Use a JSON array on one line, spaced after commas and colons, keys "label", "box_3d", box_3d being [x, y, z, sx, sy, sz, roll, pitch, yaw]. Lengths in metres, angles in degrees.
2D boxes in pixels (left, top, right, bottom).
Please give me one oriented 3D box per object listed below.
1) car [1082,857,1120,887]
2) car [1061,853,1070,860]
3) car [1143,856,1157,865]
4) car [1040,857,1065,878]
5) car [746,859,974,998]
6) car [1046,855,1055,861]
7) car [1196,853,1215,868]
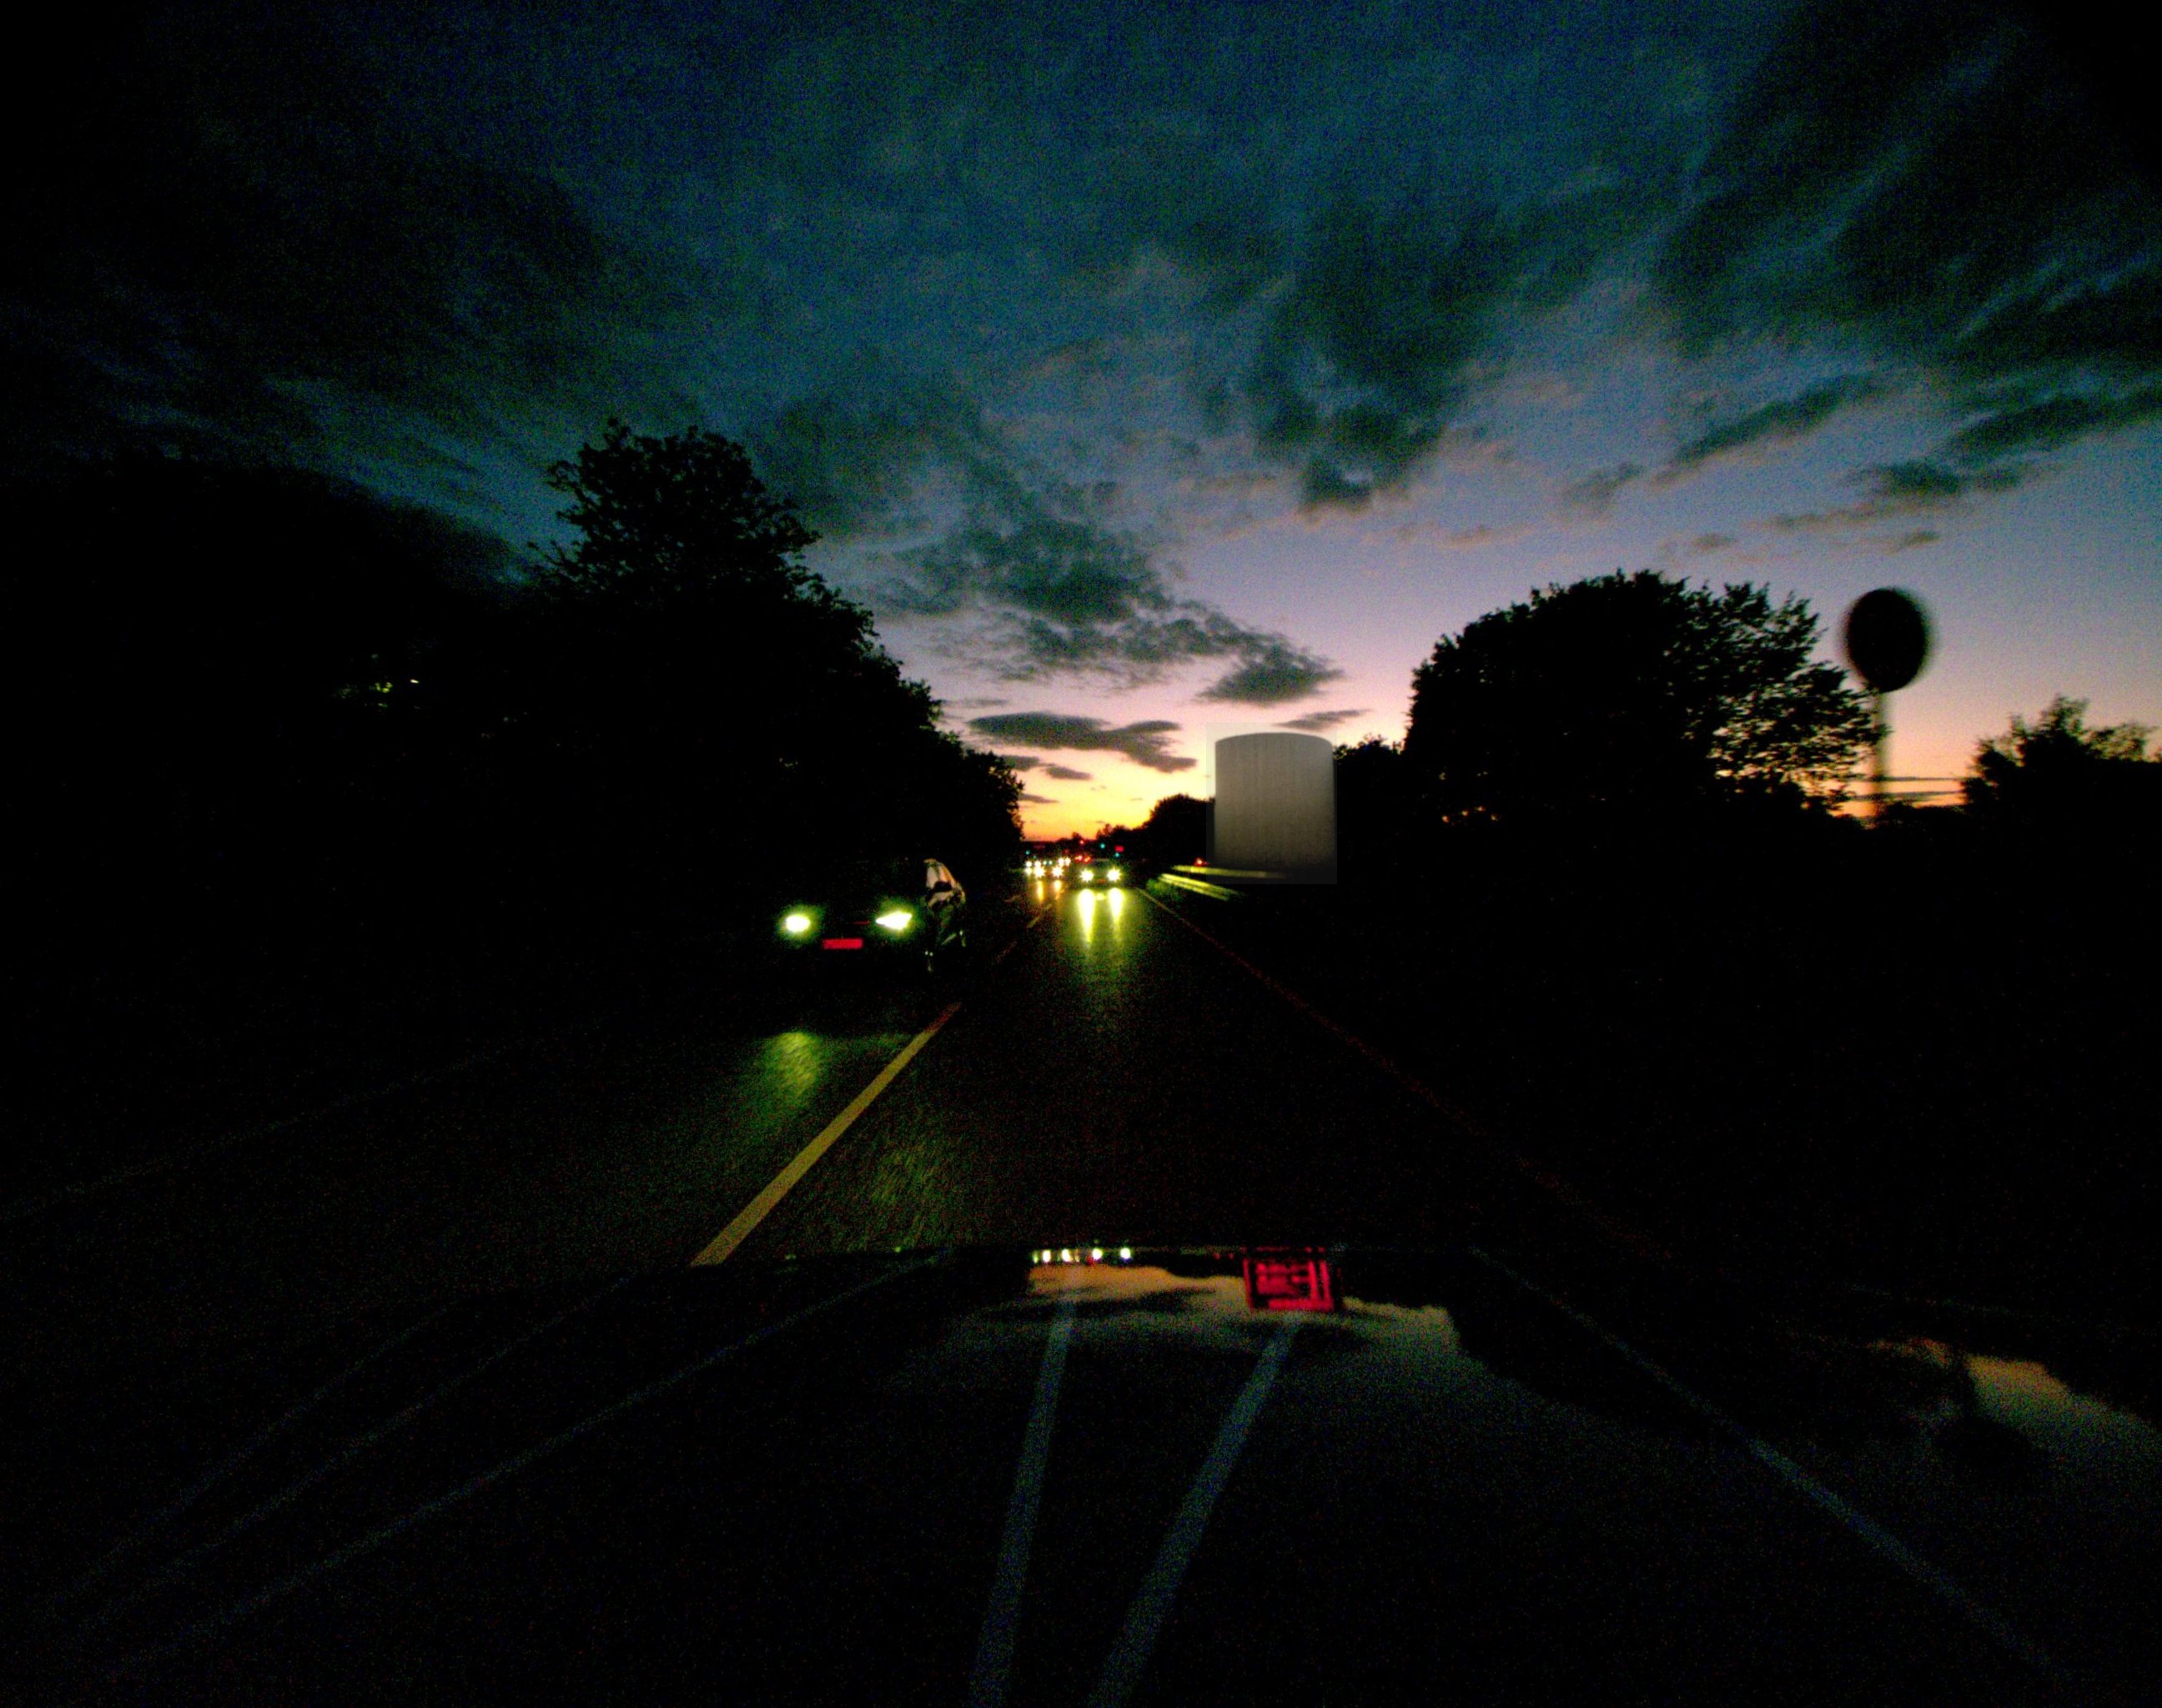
[{"label": "car", "box_3d": [1.018, 0.911, 40.972, 1.901, 1.472, 4.514, -2, 0, 0]}, {"label": "car", "box_3d": [-3.580, 0.556, 172.764, 1.999, 1.602, 4.501, -1, 0, -1]}, {"label": "car", "box_3d": [11.384, 1.040, 125.701, 1.926, 1.423, 4.501, 0, 0, -1]}, {"label": "car", "box_3d": [-2.162, 0.976, 57.932, 1.624, 1.460, 3.871, -2, 0, 1]}, {"label": "car", "box_3d": [-3.022, 0.929, 11.608, 1.998, 1.600, 4.711, -2, 0, 1]}, {"label": "car", "box_3d": [-7.703, 0.930, 191.434, 1.999, 1.423, 4.501, 0, 0, -1]}, {"label": "car", "box_3d": [14.138, 0.712, 86.520, 1.798, 1.661, 4.503, -1, 0, 4]}]
